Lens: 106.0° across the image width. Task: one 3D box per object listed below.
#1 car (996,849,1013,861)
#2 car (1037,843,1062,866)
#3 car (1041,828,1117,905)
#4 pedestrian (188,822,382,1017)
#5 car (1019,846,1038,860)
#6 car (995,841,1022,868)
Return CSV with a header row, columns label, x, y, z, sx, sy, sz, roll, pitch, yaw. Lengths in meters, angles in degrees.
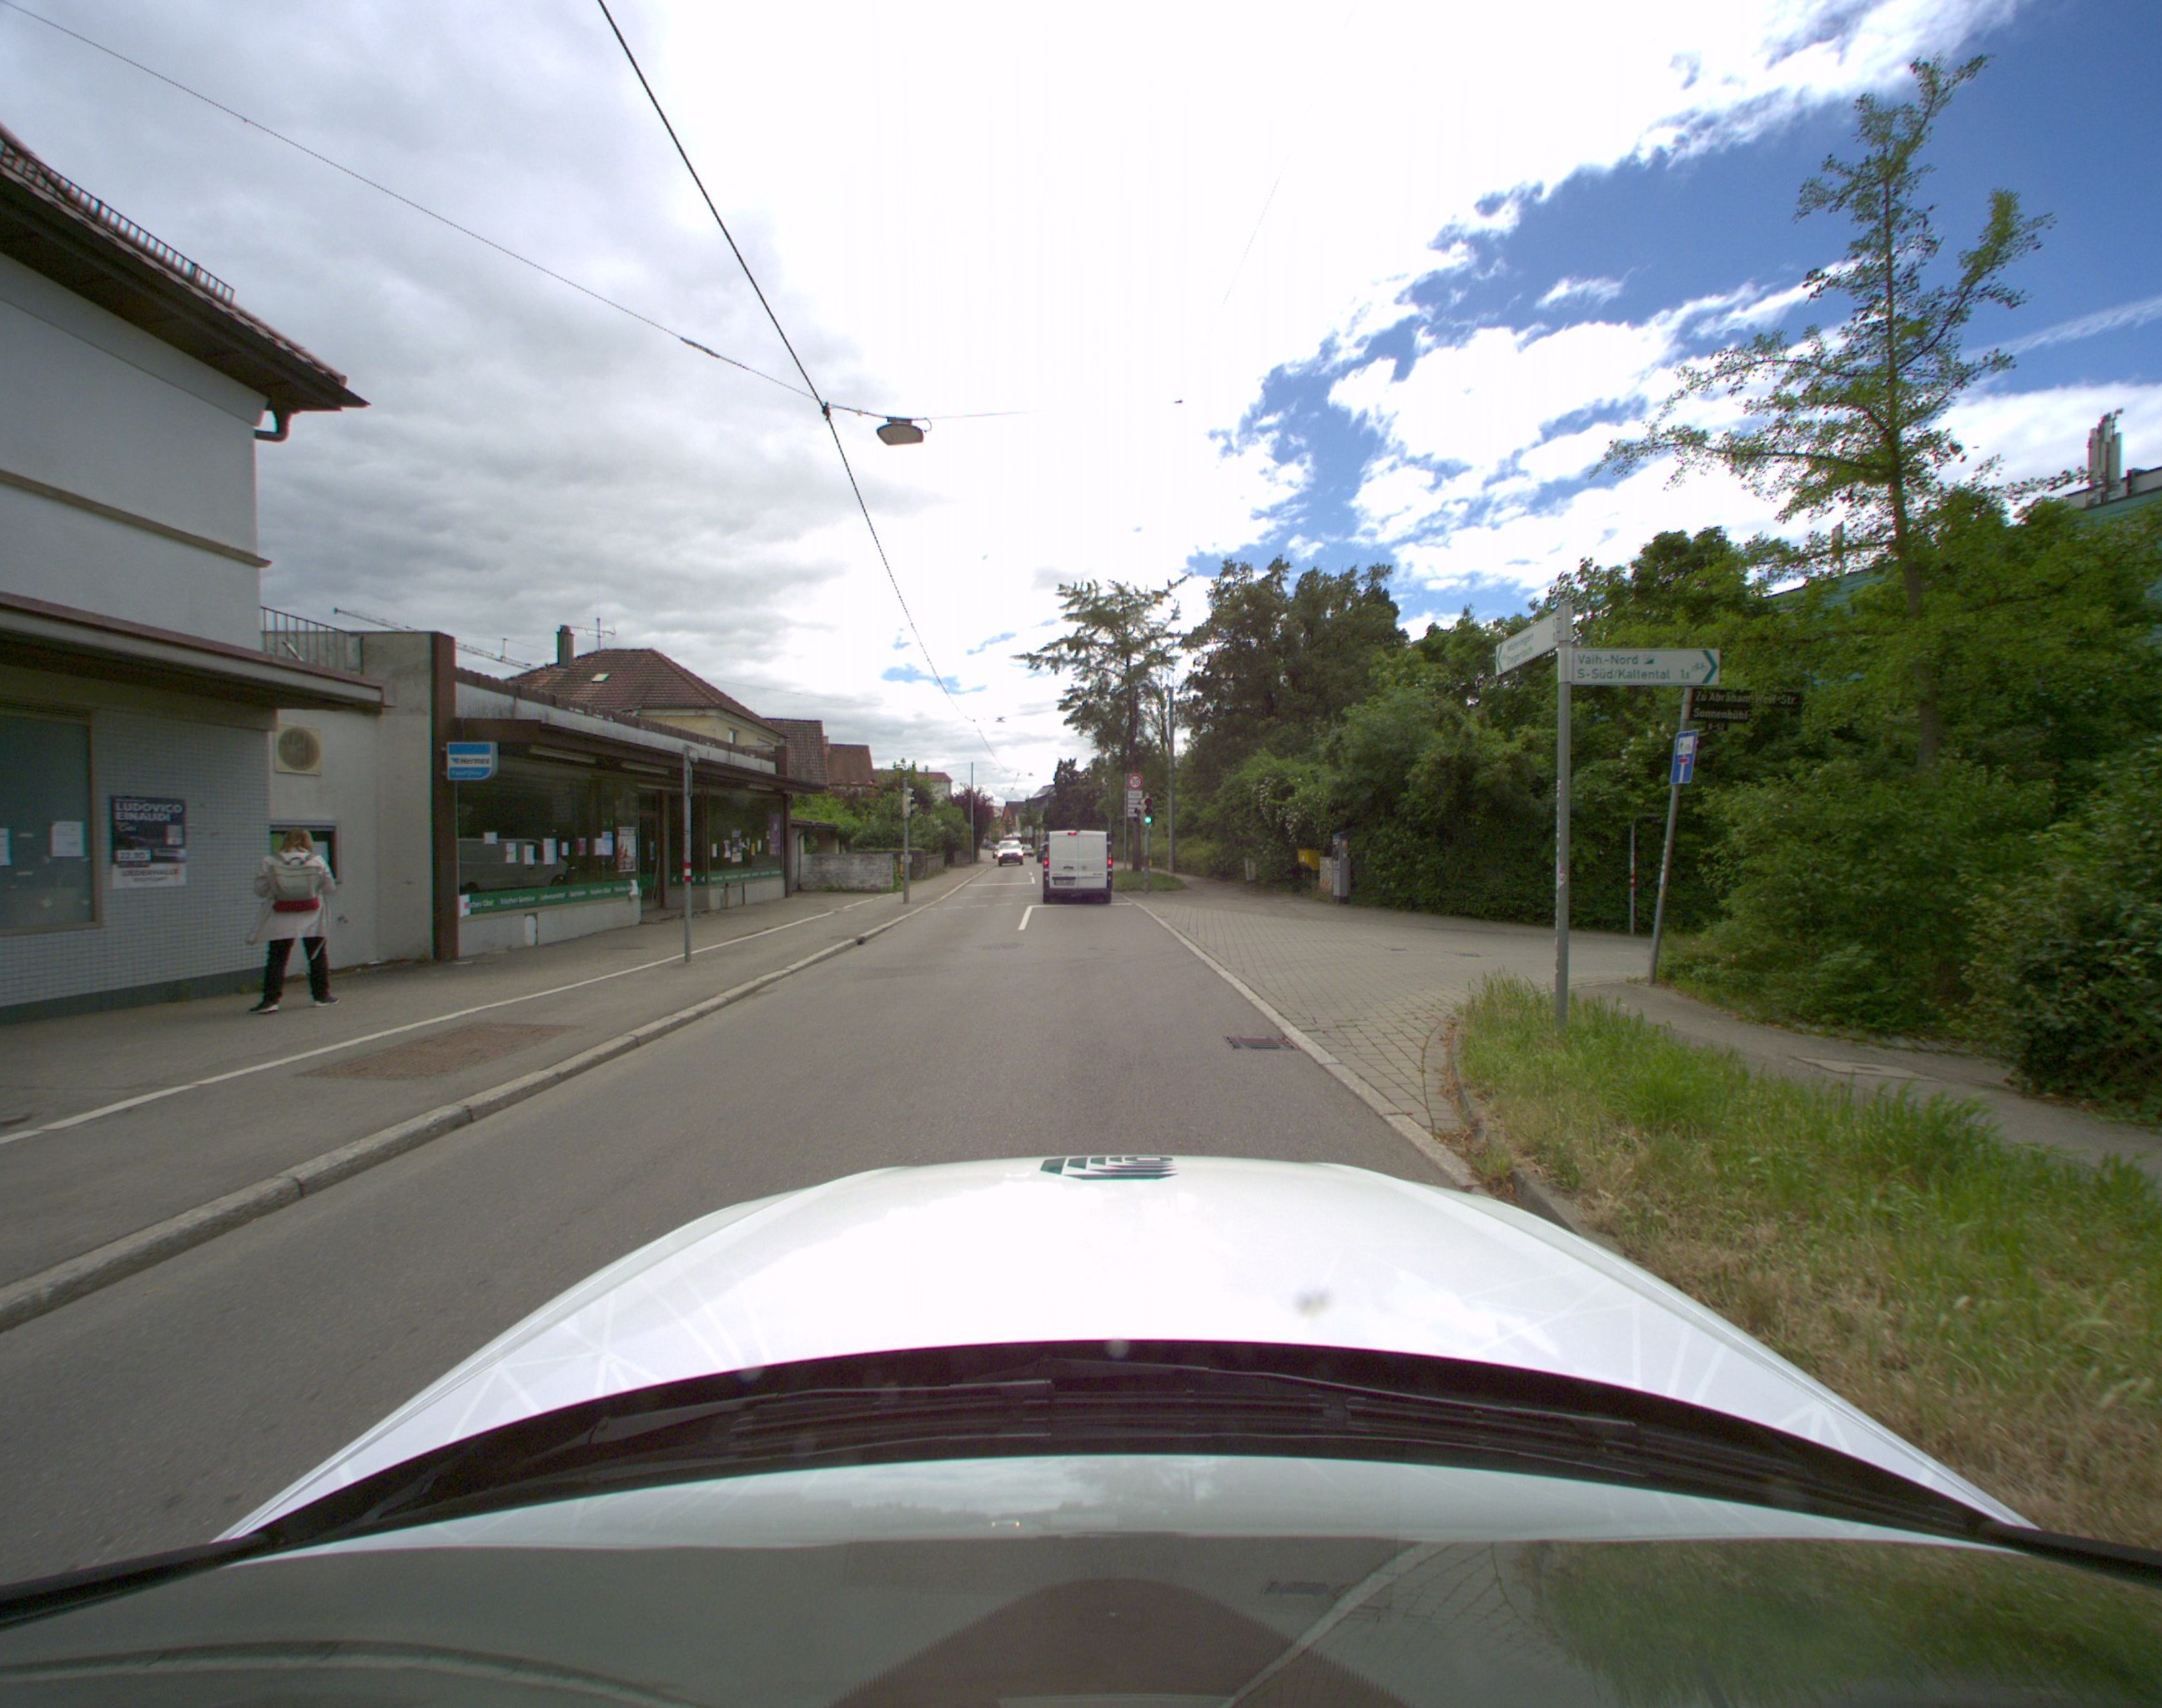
label,x,y,z,sx,sy,sz,roll,pitch,yaw
car,-9.731,0.105,102.846,1.882,1.512,4.101,-2,1,-8
car,-2.641,0.024,69.079,1.890,1.860,4.405,0,0,1
car,-0.157,0.326,23.254,1.926,1.964,4.396,0,0,-3
pedestrian,-7.578,0.594,7.817,0.880,1.751,0.962,1,0,-4
car,-6.675,-0.084,103.029,1.826,1.728,3.985,0,0,-11
car,-5.641,-0.002,63.477,1.863,1.911,5.109,-2,1,-4
